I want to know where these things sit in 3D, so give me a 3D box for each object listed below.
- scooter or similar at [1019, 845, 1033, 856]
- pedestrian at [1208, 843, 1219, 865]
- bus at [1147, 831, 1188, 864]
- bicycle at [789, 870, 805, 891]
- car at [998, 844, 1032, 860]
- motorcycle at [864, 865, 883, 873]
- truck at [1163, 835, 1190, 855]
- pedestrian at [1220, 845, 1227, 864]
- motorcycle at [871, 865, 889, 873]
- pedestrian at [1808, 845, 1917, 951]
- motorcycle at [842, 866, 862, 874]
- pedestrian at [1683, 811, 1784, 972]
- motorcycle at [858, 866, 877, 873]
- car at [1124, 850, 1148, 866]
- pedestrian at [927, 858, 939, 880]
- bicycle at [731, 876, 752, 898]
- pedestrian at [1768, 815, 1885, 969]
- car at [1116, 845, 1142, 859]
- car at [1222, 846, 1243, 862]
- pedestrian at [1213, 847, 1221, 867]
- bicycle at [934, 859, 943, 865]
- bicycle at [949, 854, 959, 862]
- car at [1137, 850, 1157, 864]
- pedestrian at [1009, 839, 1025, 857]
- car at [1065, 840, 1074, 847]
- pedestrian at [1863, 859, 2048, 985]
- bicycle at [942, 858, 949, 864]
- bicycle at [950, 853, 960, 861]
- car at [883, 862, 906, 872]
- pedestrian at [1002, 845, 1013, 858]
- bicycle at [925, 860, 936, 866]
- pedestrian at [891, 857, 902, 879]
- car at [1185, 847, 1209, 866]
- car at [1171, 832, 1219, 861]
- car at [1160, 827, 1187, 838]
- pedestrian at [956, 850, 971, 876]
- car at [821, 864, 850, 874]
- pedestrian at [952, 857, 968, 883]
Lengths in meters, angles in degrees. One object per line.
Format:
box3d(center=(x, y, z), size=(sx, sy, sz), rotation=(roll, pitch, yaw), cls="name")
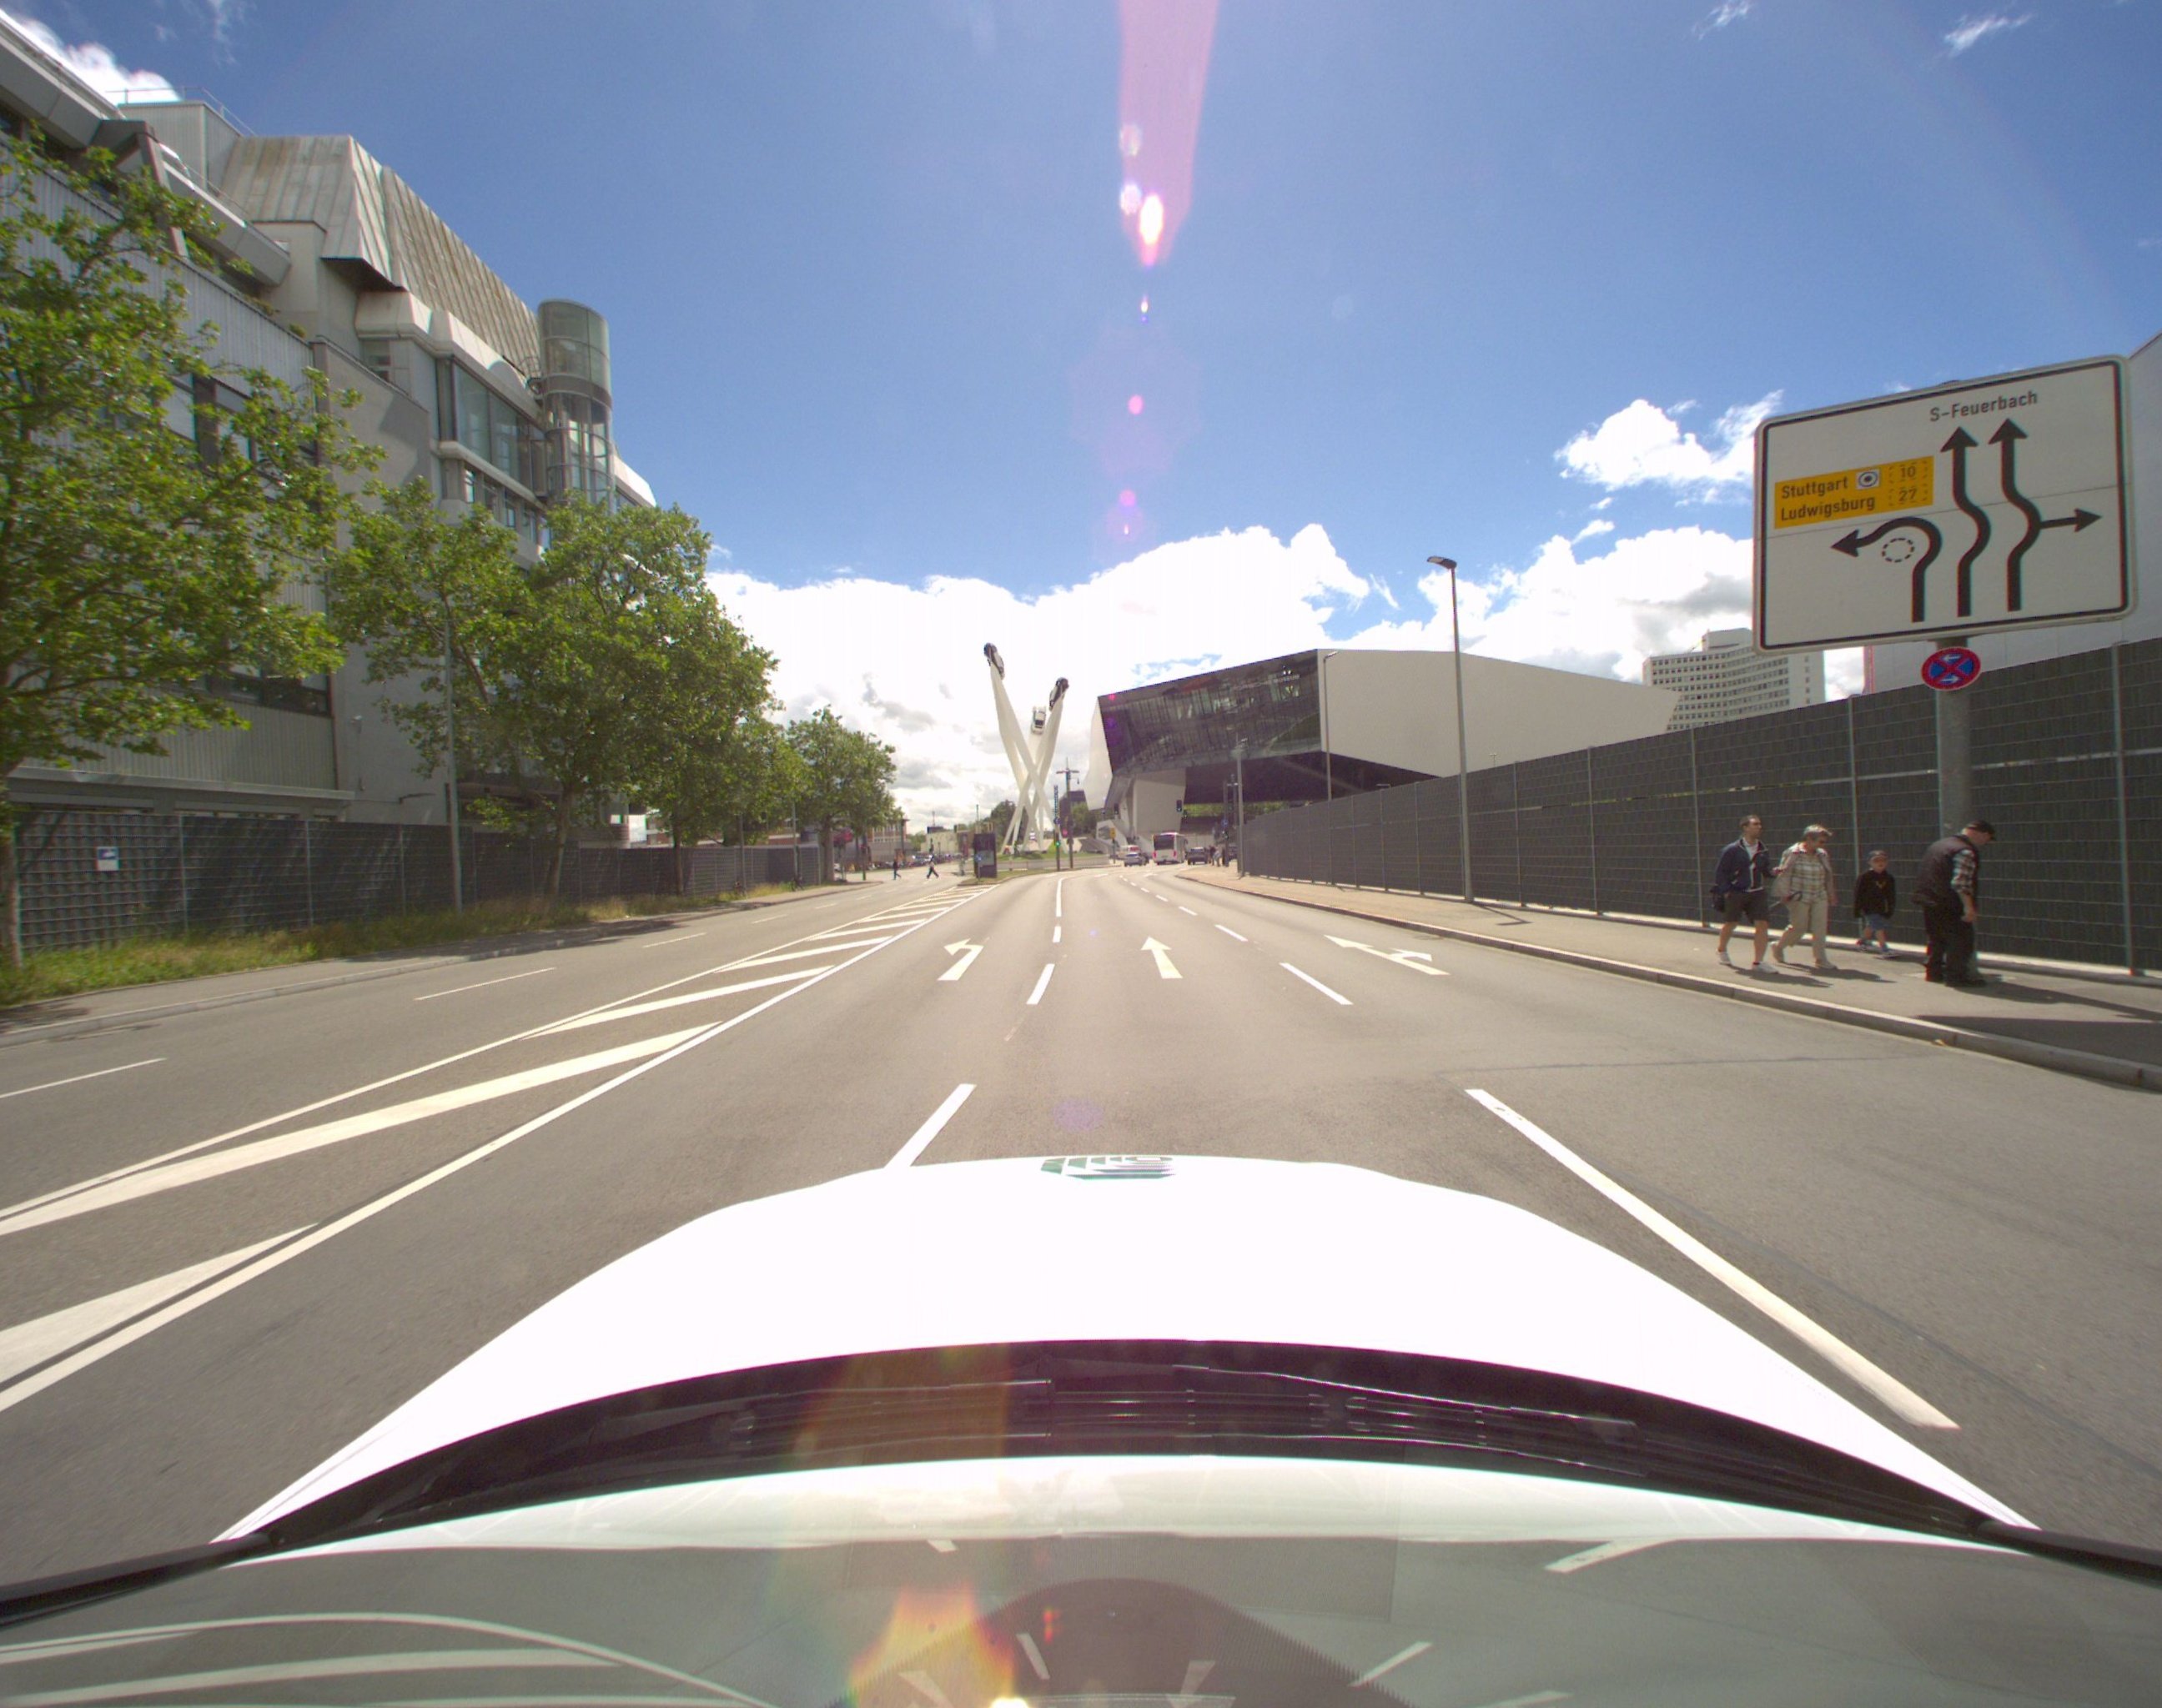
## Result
box3d(center=(-5.871, -0.343, 86.948), size=(1.405, 1.025, 0.546), rotation=(-6, 6, -21), cls="scooter or similar")
box3d(center=(11.504, -0.017, 70.821), size=(0.661, 1.866, 0.789), rotation=(-1, -1, -16), cls="pedestrian")
box3d(center=(9.686, -0.619, 89.492), size=(3.051, 3.362, 12.264), rotation=(-1, -1, 12), cls="bus")
box3d(center=(-15.790, 1.478, 45.324), size=(0.295, 1.131, 1.485), rotation=(-1, -1, 2), cls="bicycle")
box3d(center=(-9.497, -0.251, 117.468), size=(4.617, 2.171, 2.003), rotation=(-1, -1, 5), cls="car")
box3d(center=(-34.200, 2.501, 134.221), size=(2.881, 1.196, 0.924), rotation=(-1, -1, 16), cls="motorcycle")
box3d(center=(12.201, -1.123, 104.464), size=(2.205, 2.516, 5.119), rotation=(-1, -1, -8), cls="truck")
box3d(center=(12.274, 0.069, 70.142), size=(0.462, 1.616, 0.663), rotation=(-1, -1, 1), cls="pedestrian")
box3d(center=(-33.690, 2.542, 136.740), size=(2.881, 1.196, 0.924), rotation=(-1, -1, 16), cls="motorcycle")
box3d(center=(9.336, 0.511, 9.750), size=(0.594, 1.207, 0.717), rotation=(-1, -1, 1), cls="pedestrian")
box3d(center=(-36.610, 2.510, 130.214), size=(2.881, 1.196, 0.924), rotation=(-1, -1, 16), cls="motorcycle")
box3d(center=(7.380, 0.407, 9.249), size=(0.787, 1.721, 0.736), rotation=(-2, -1, 33), cls="pedestrian")
box3d(center=(-34.859, 2.520, 133.171), size=(2.881, 1.196, 0.924), rotation=(-1, -1, 16), cls="motorcycle")
box3d(center=(5.773, 0.395, 85.780), size=(1.980, 1.637, 4.012), rotation=(-1, -1, 11), cls="car")
box3d(center=(-11.818, 1.205, 65.182), size=(0.865, 1.774, 1.030), rotation=(-1, -1, -15), cls="pedestrian")
box3d(center=(-16.208, 1.556, 38.878), size=(0.294, 1.006, 1.255), rotation=(-1, -1, 9), cls="bicycle")
box3d(center=(8.181, 0.405, 8.982), size=(0.787, 1.597, 0.736), rotation=(-1, -1, 31), cls="pedestrian")
box3d(center=(6.802, -0.256, 114.975), size=(2.003, 1.904, 3.967), rotation=(-1, -1, -25), cls="car")
box3d(center=(15.546, 0.018, 83.482), size=(1.980, 1.637, 4.012), rotation=(-1, -1, 11), cls="car")
box3d(center=(11.200, 0.274, 67.174), size=(0.655, 1.608, 0.825), rotation=(-1, -1, 9), cls="pedestrian")
box3d(center=(-22.900, 1.256, 131.165), size=(0.486, 0.866, 1.621), rotation=(-1, 4, 27), cls="bicycle")
box3d(center=(-21.300, 0.593, 136.323), size=(1.602, 1.316, 0.492), rotation=(-1, -1, -3), cls="bicycle")
box3d(center=(8.159, 0.359, 100.172), size=(1.980, 1.637, 4.013), rotation=(-1, -1, 12), cls="car")
box3d(center=(-6.813, -0.647, 86.697), size=(1.285, 1.816, 0.981), rotation=(-6, 4, -18), cls="pedestrian")
box3d(center=(-2.717, -2.513, 198.123), size=(1.987, 1.635, 4.656), rotation=(-1, 1, 0), cls="car")
box3d(center=(8.494, 0.632, 7.963), size=(0.754, 1.149, 0.972), rotation=(-1, -1, 2), cls="pedestrian")
box3d(center=(-22.193, 1.094, 133.581), size=(0.488, 0.866, 1.616), rotation=(-3, 2, 10), cls="bicycle")
box3d(center=(-21.296, 0.529, 137.858), size=(1.602, 1.382, 0.492), rotation=(-1, -1, -3), cls="bicycle")
box3d(center=(-32.582, 2.268, 142.477), size=(3.446, 1.804, 1.711), rotation=(-1, -1, 15), cls="car")
box3d(center=(-8.826, -0.307, 98.193), size=(0.846, 1.406, 0.970), rotation=(-8, -3, 20), cls="pedestrian")
box3d(center=(-23.964, 1.371, 129.653), size=(0.486, 0.866, 1.621), rotation=(-2, 2, 39), cls="bicycle")
box3d(center=(-15.313, 1.175, 67.529), size=(0.865, 1.774, 1.030), rotation=(-1, -1, -15), cls="pedestrian")
box3d(center=(11.076, 0.185, 77.470), size=(1.980, 1.636, 4.013), rotation=(-1, 1, 11), cls="car")
box3d(center=(14.783, -0.955, 106.326), size=(3.337, 3.504, 9.306), rotation=(-1, -1, -11), cls="car")
box3d(center=(16.104, -3.736, 141.659), size=(4.458, 1.394, 2.012), rotation=(8, 11, 44), cls="car")
box3d(center=(-9.669, 0.751, 67.045), size=(0.945, 2.055, 0.955), rotation=(-1, -1, 17), cls="pedestrian")
box3d(center=(-38.597, 2.341, 127.907), size=(3.954, 1.500, 2.009), rotation=(-1, -1, 19), cls="car")
box3d(center=(-9.802, 1.276, 66.051), size=(0.945, 2.055, 0.955), rotation=(-1, -1, 17), cls="pedestrian")
